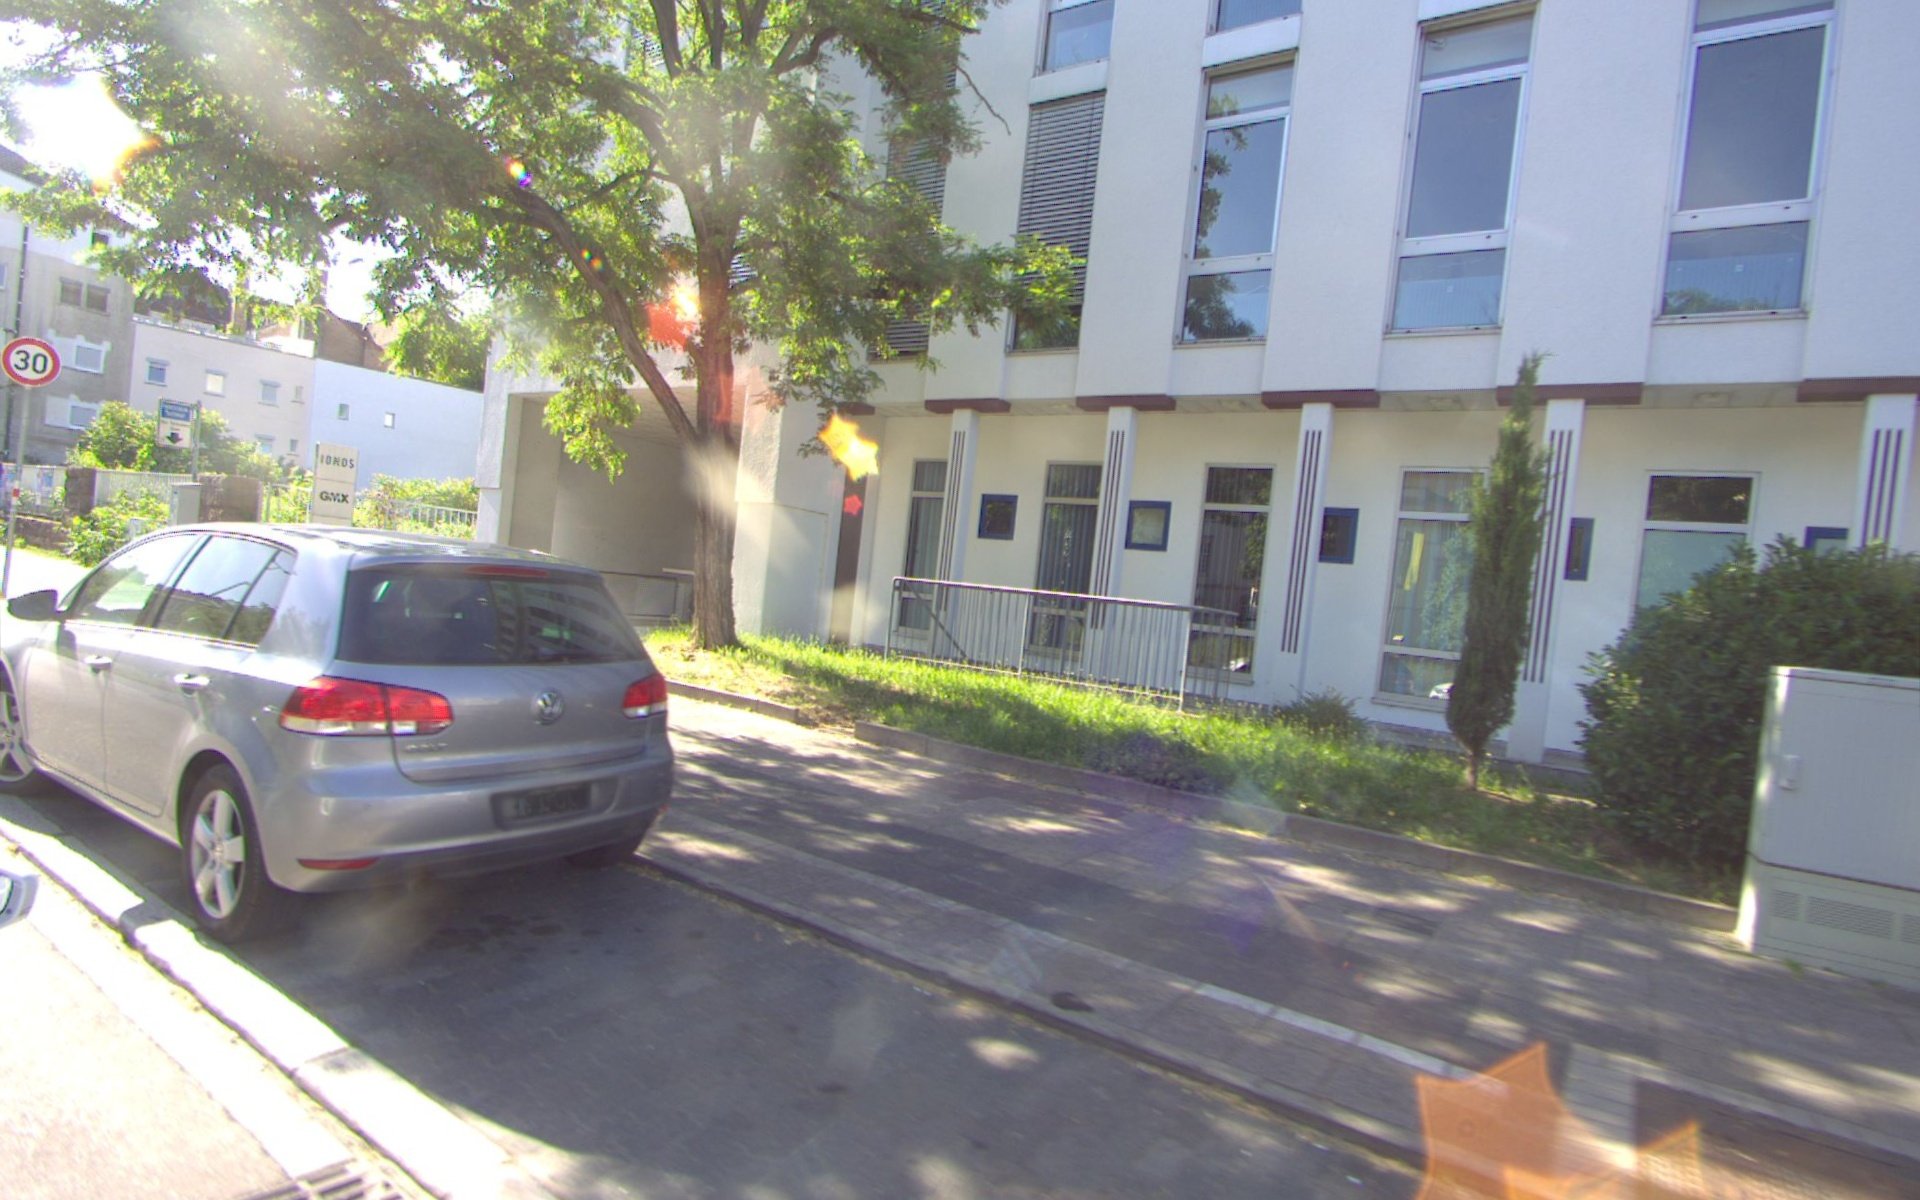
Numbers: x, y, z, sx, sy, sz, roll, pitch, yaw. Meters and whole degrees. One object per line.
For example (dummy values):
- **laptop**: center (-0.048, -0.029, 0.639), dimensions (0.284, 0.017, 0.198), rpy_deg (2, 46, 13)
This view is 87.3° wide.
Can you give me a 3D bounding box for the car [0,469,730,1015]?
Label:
- **car**: center (-3.199, 0.317, 4.833), dimensions (4.089, 1.467, 1.638), rpy_deg (9, 2, 34)
